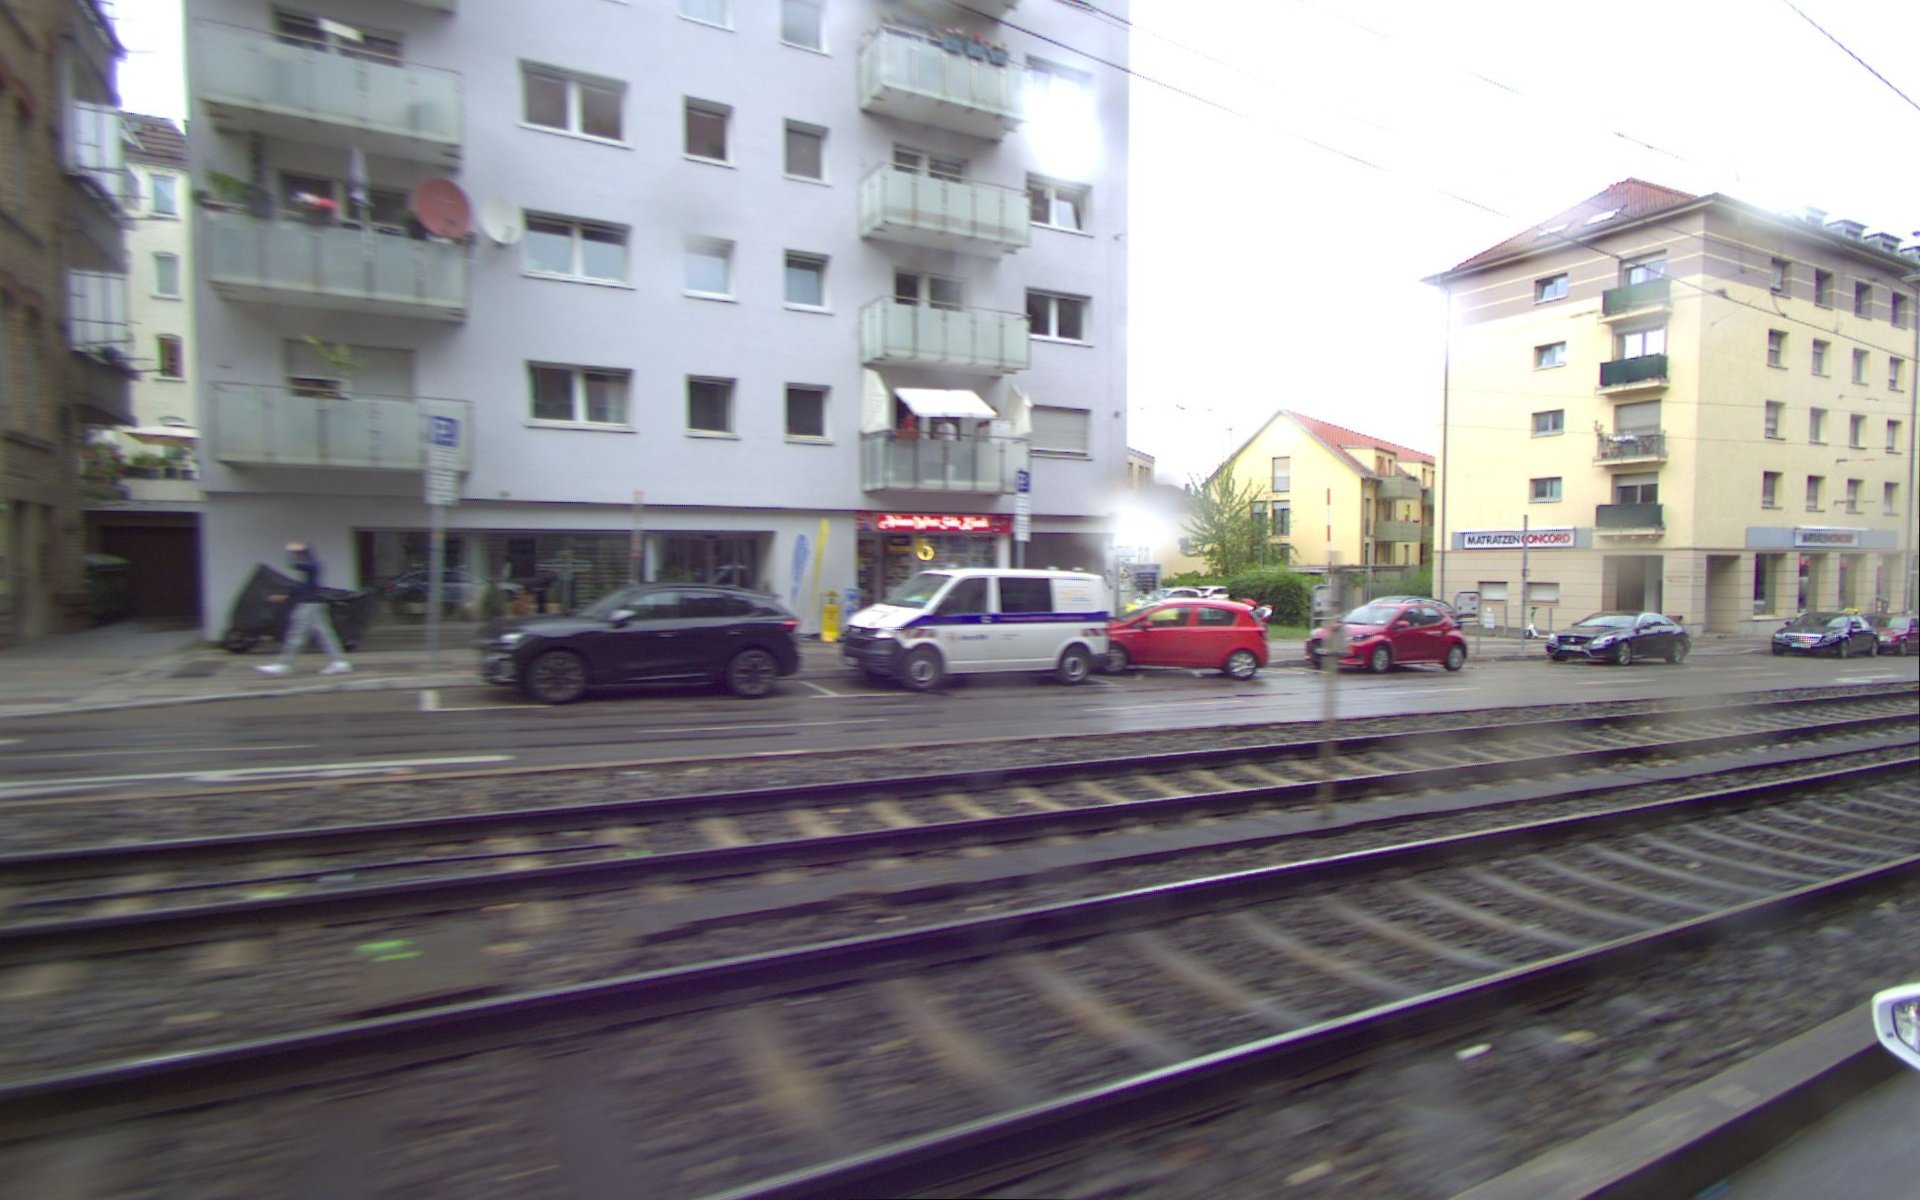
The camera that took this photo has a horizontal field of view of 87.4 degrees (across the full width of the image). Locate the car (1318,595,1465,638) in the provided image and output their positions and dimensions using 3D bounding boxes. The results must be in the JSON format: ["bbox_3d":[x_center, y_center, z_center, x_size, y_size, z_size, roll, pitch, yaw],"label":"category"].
[{"bbox_3d":[14.087,0.502,32.788,4.413,1.321,1.867,0,1,-23],"label":"car"}]

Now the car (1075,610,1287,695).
[{"bbox_3d":[4.300,1.007,20.075,3.902,1.453,1.786,2,1,5],"label":"car"}]

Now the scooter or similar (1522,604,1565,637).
[{"bbox_3d":[21.025,0.733,36.189,0.375,1.127,1.282,-1,3,-35],"label":"scooter or similar"}]

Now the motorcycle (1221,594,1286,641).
[{"bbox_3d":[8.222,0.504,28.100,1.764,1.216,0.636,2,4,-30],"label":"motorcycle"}]

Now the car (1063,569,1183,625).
[{"bbox_3d":[5.713,-0.131,35.042,3.950,1.846,1.679,-1,1,-29],"label":"car"}]

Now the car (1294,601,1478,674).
[{"bbox_3d":[9.616,0.807,22.616,4.022,1.471,1.647,1,1,-28],"label":"car"}]

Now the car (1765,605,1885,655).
[{"bbox_3d":[29.099,0.965,33.742,4.940,1.528,1.839,1,1,-35],"label":"car"}]

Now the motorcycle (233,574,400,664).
[{"bbox_3d":[-10.679,0.300,16.794,2.281,1.395,0.925,0,3,-29],"label":"motorcycle"}]

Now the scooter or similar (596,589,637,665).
[{"bbox_3d":[-6.663,0.513,19.478,0.314,1.225,1.081,0,14,-39],"label":"scooter or similar"}]

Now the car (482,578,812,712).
[{"bbox_3d":[-4.481,0.575,14.534,4.311,1.673,1.725,1,2,-30],"label":"car"}]

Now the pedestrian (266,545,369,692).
[{"bbox_3d":[-9.092,0.232,14.201,1.166,1.955,1.163,0,2,-36],"label":"pedestrian"}]

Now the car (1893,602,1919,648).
[{"bbox_3d":[38.803,0.997,39.428,4.405,1.740,1.859,1,1,-29],"label":"car"}]

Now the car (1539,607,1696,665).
[{"bbox_3d":[17.667,0.929,26.954,4.568,1.415,1.671,1,1,-31],"label":"car"}]

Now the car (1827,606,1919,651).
[{"bbox_3d":[33.821,1.014,36.578,4.773,1.451,1.843,1,2,-29],"label":"car"}]

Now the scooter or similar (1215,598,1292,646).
[{"bbox_3d":[7.854,0.590,26.917,1.860,1.216,0.623,1,4,-9],"label":"scooter or similar"}]

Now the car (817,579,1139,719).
[{"bbox_3d":[0.365,0.734,17.483,5.237,2.036,2.060,0,4,-29],"label":"car"}]

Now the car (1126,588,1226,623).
[{"bbox_3d":[9.092,0.234,42.313,3.848,1.419,1.664,1,1,-24],"label":"car"}]
